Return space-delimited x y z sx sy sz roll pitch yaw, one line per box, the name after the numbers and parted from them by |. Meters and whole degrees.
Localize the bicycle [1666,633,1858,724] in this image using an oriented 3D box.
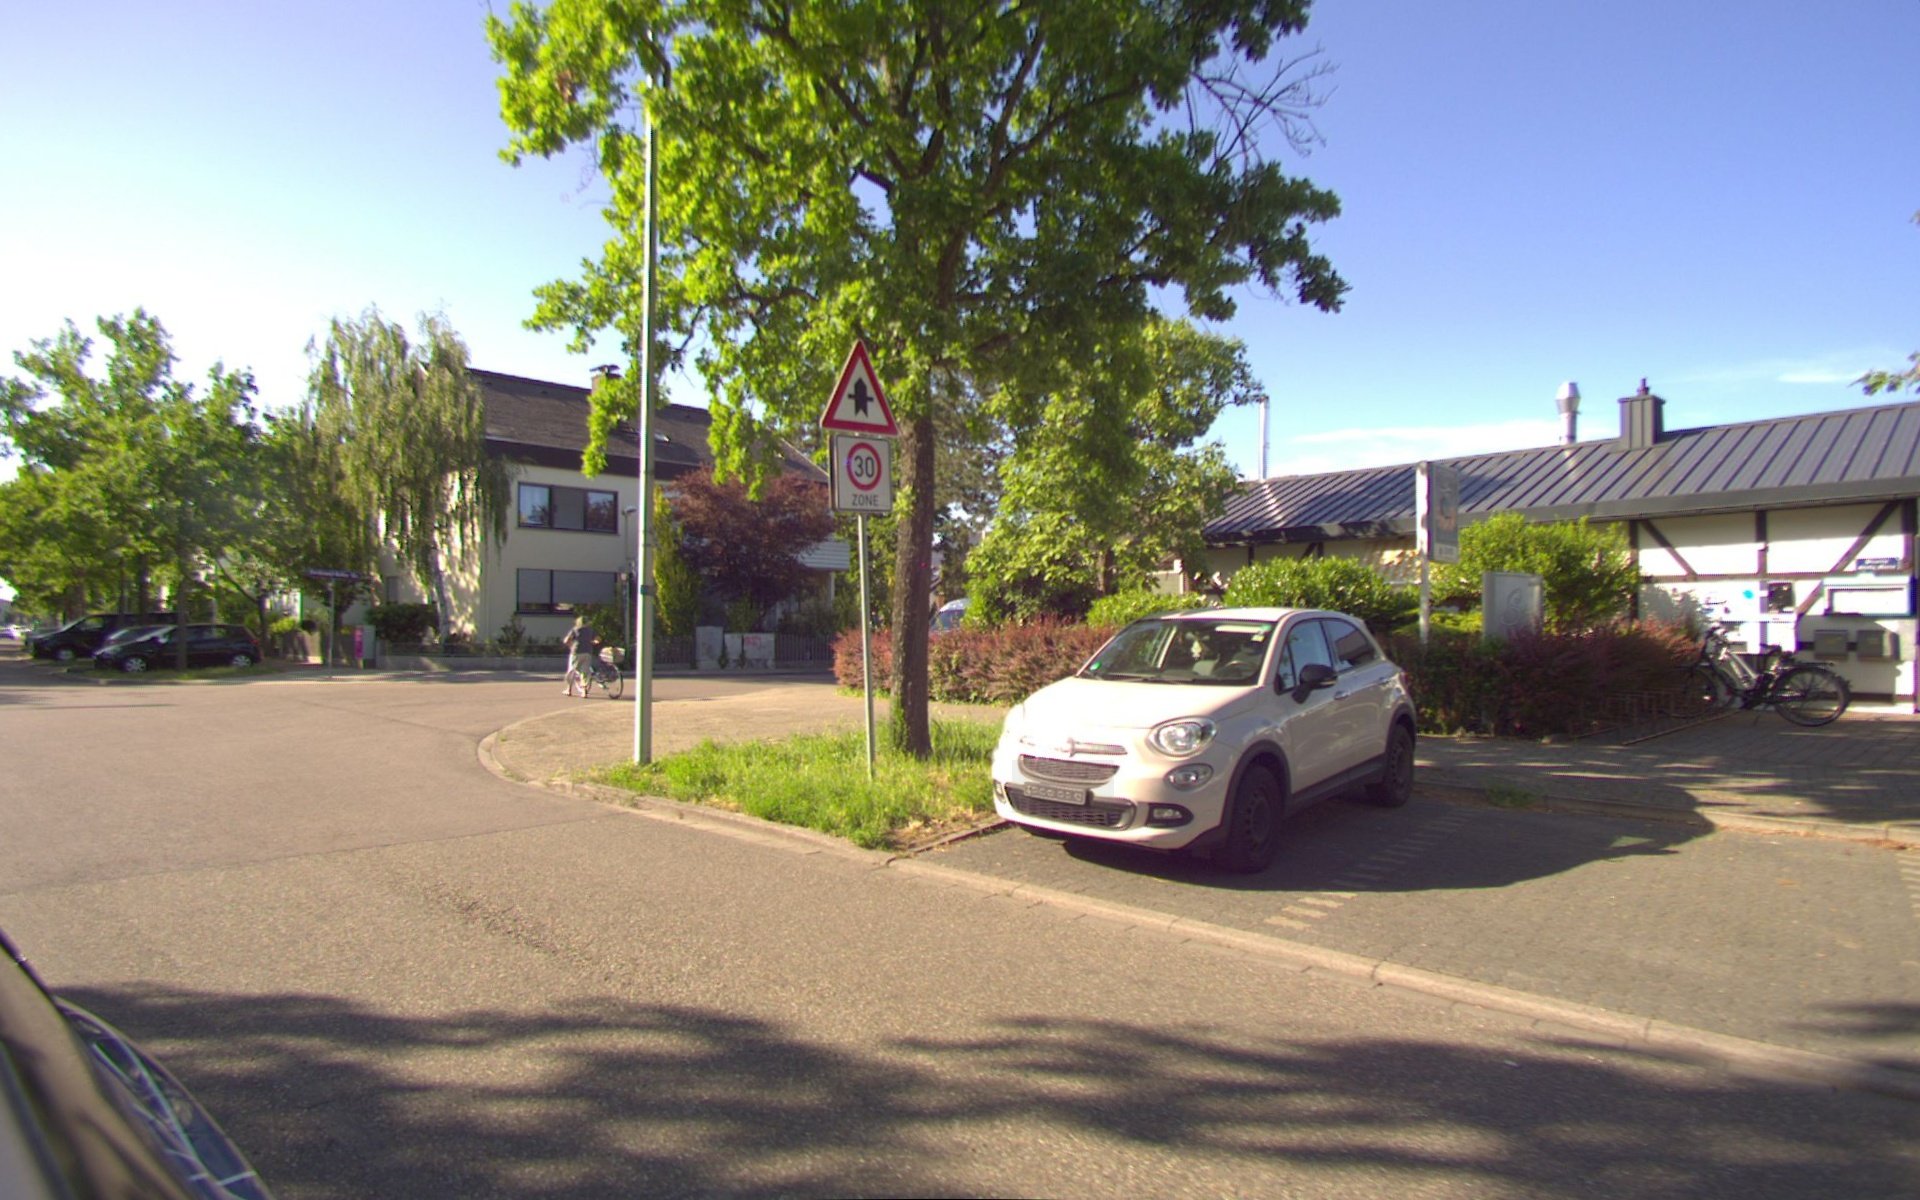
10.253 0.973 13.034 1.879 1.096 0.633 -1 -2 37 | bicycle

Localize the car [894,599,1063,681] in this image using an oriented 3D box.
0.706 1.315 33.421 5.732 2.472 2.003 2 -3 -41 | car

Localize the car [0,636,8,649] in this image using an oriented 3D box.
-133.120 5.837 140.085 1.912 1.791 4.042 2 -3 -43 | car

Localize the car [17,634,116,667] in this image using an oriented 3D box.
-49.835 2.792 56.483 3.979 1.791 1.942 2 -3 -45 | car

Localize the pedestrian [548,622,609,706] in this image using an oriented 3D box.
-7.426 1.226 19.692 0.866 1.554 0.719 1 -1 37 | pedestrian

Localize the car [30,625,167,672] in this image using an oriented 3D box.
-34.062 1.894 40.073 3.979 1.791 1.942 2 -3 -45 | car

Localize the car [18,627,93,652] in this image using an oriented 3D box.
-66.406 2.909 74.319 3.979 1.791 1.942 2 -3 -45 | car

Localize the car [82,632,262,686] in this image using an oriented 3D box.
-23.287 1.696 29.991 3.979 1.490 1.942 2 -3 -45 | car

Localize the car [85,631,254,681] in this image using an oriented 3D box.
-25.328 1.751 32.519 1.940 1.490 3.983 -2 -3 41 | car

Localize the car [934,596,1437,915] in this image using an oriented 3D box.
1.869 0.825 7.424 1.875 1.655 4.020 -2 -1 41 | car

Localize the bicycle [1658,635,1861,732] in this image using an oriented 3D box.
9.702 0.979 12.373 1.879 1.096 0.633 -1 -2 37 | bicycle

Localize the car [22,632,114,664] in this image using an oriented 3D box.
-52.751 2.823 59.886 3.979 1.791 1.942 2 -3 -45 | car

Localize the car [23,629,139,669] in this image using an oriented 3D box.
-41.234 2.258 47.533 3.979 1.791 1.942 2 -3 -45 | car

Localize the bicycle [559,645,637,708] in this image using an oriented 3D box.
-7.134 1.480 19.906 1.891 1.096 0.632 1 -1 43 | bicycle
